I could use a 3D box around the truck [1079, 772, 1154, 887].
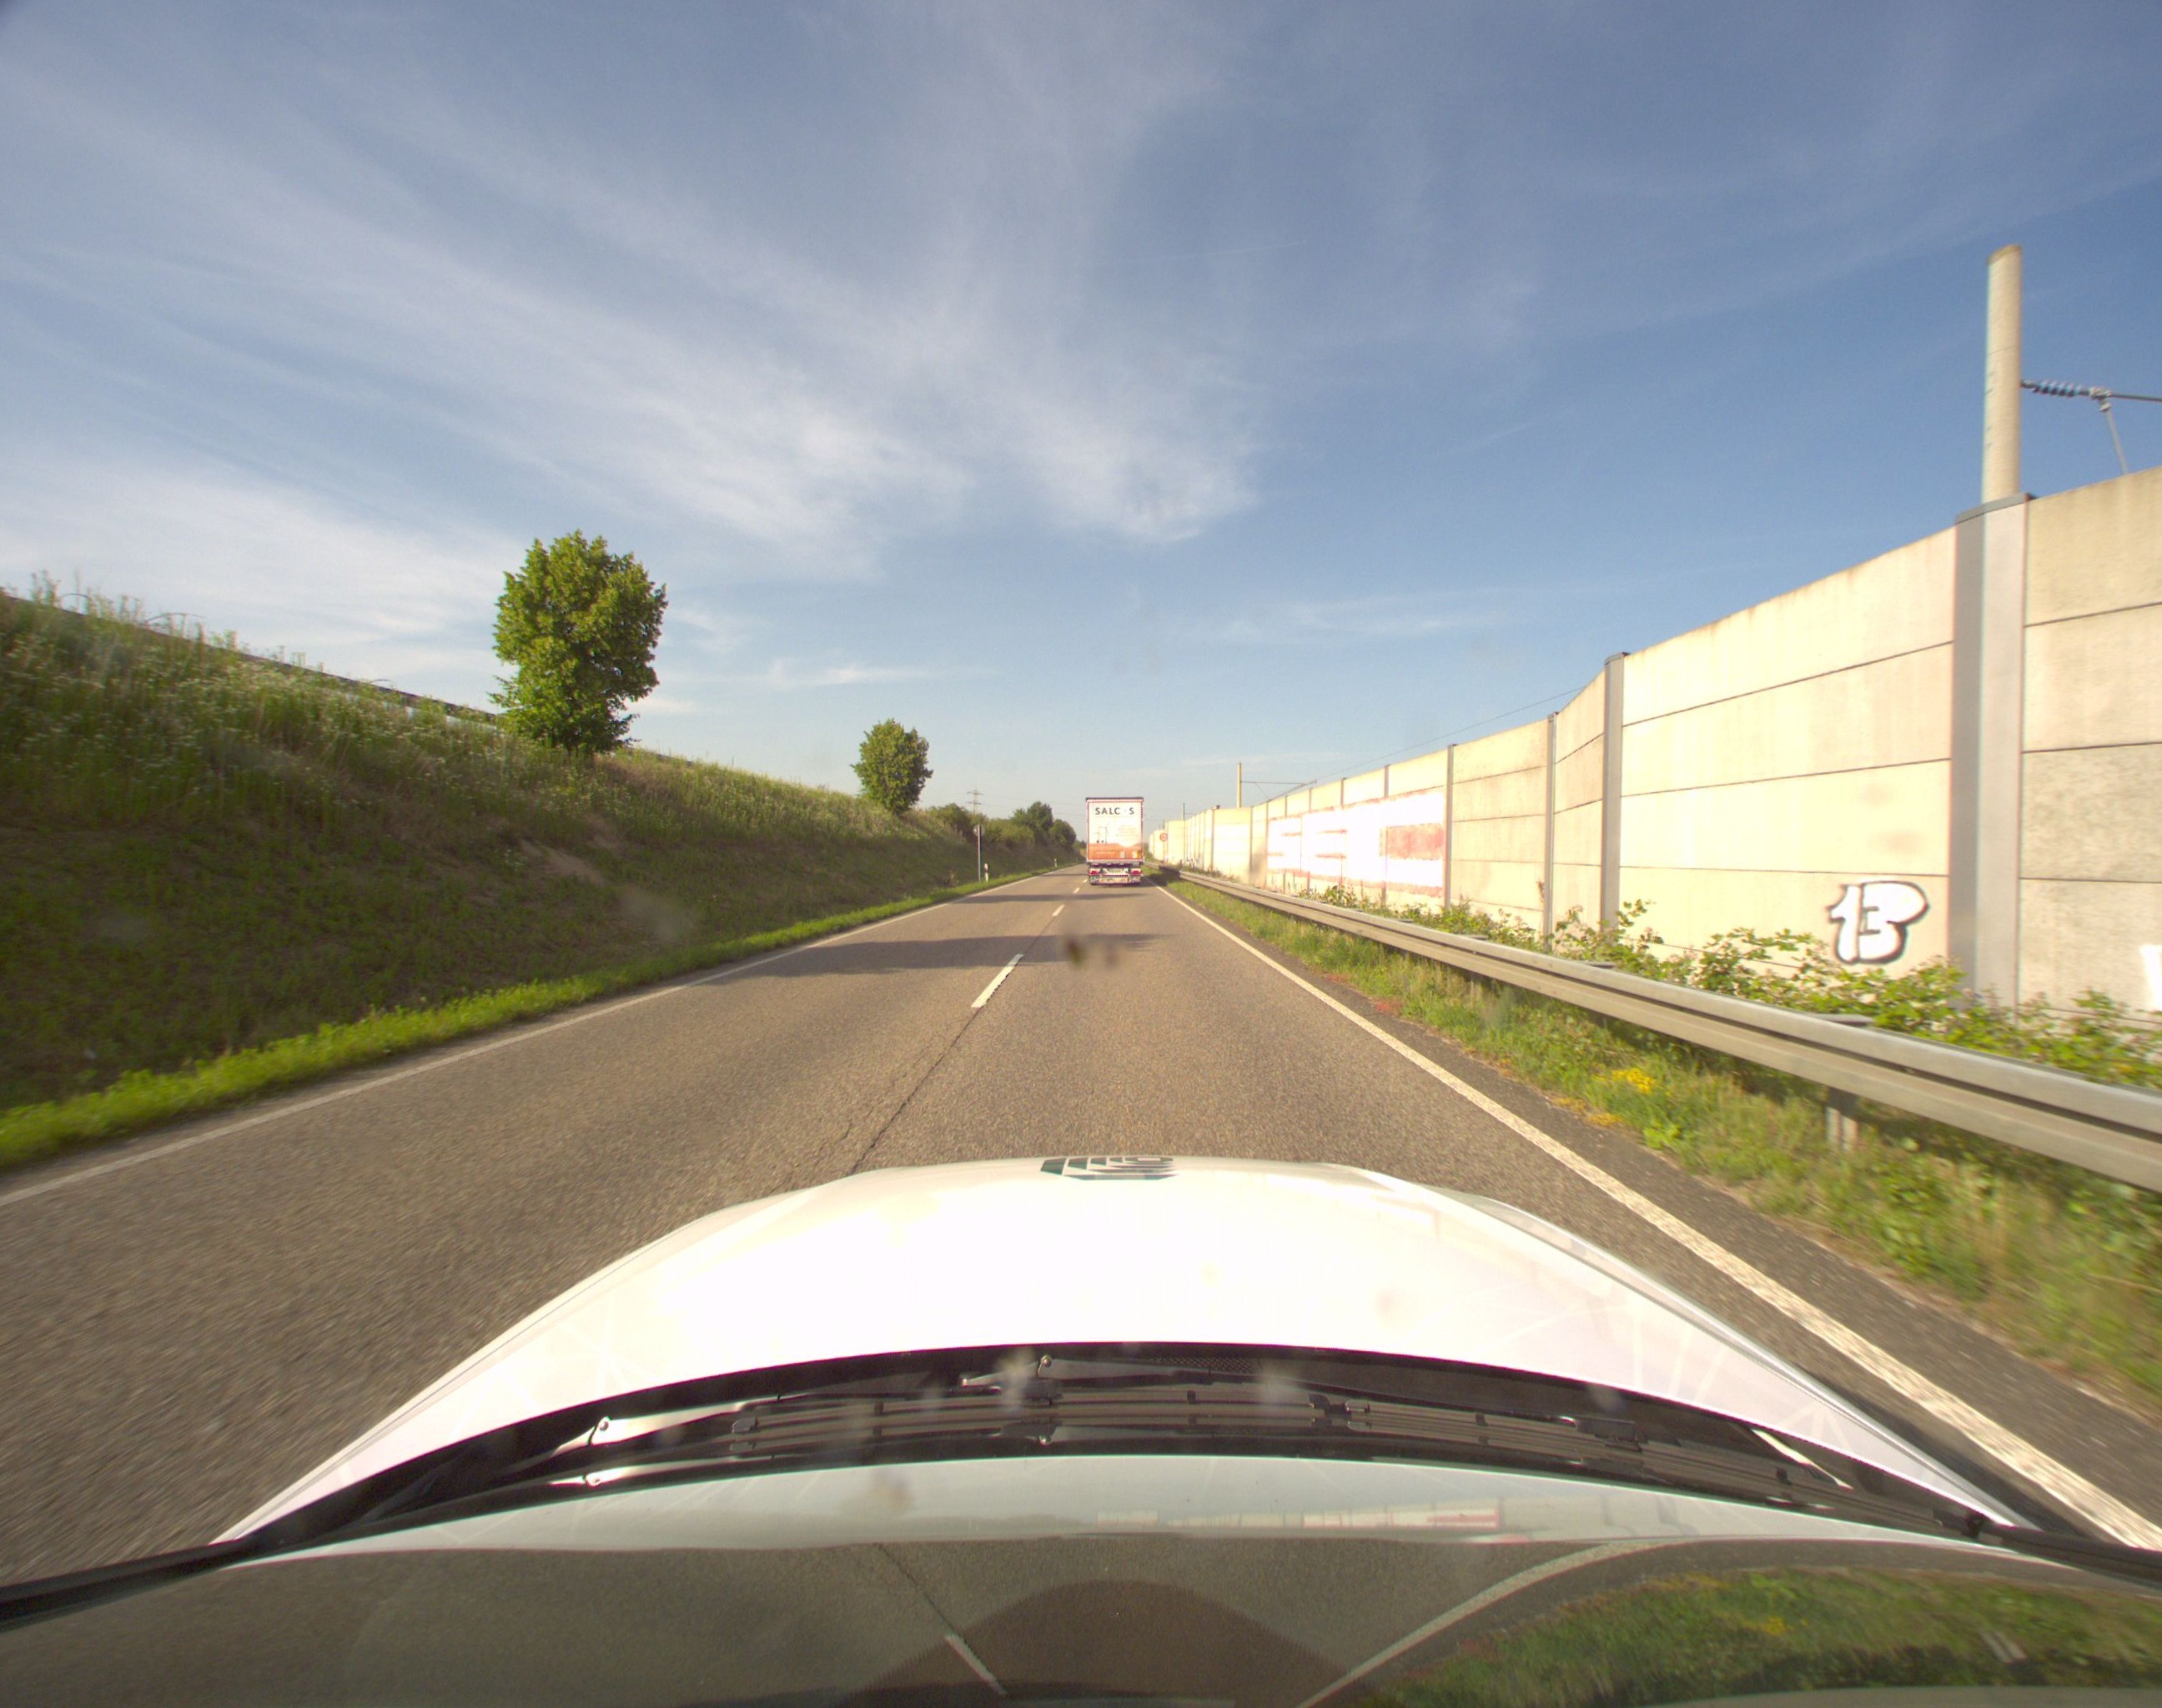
[{"bbox_3d":[1.650,-1.147,42.261,3.279,5.090,12.039,-1,0,1],"label":"truck"}]
